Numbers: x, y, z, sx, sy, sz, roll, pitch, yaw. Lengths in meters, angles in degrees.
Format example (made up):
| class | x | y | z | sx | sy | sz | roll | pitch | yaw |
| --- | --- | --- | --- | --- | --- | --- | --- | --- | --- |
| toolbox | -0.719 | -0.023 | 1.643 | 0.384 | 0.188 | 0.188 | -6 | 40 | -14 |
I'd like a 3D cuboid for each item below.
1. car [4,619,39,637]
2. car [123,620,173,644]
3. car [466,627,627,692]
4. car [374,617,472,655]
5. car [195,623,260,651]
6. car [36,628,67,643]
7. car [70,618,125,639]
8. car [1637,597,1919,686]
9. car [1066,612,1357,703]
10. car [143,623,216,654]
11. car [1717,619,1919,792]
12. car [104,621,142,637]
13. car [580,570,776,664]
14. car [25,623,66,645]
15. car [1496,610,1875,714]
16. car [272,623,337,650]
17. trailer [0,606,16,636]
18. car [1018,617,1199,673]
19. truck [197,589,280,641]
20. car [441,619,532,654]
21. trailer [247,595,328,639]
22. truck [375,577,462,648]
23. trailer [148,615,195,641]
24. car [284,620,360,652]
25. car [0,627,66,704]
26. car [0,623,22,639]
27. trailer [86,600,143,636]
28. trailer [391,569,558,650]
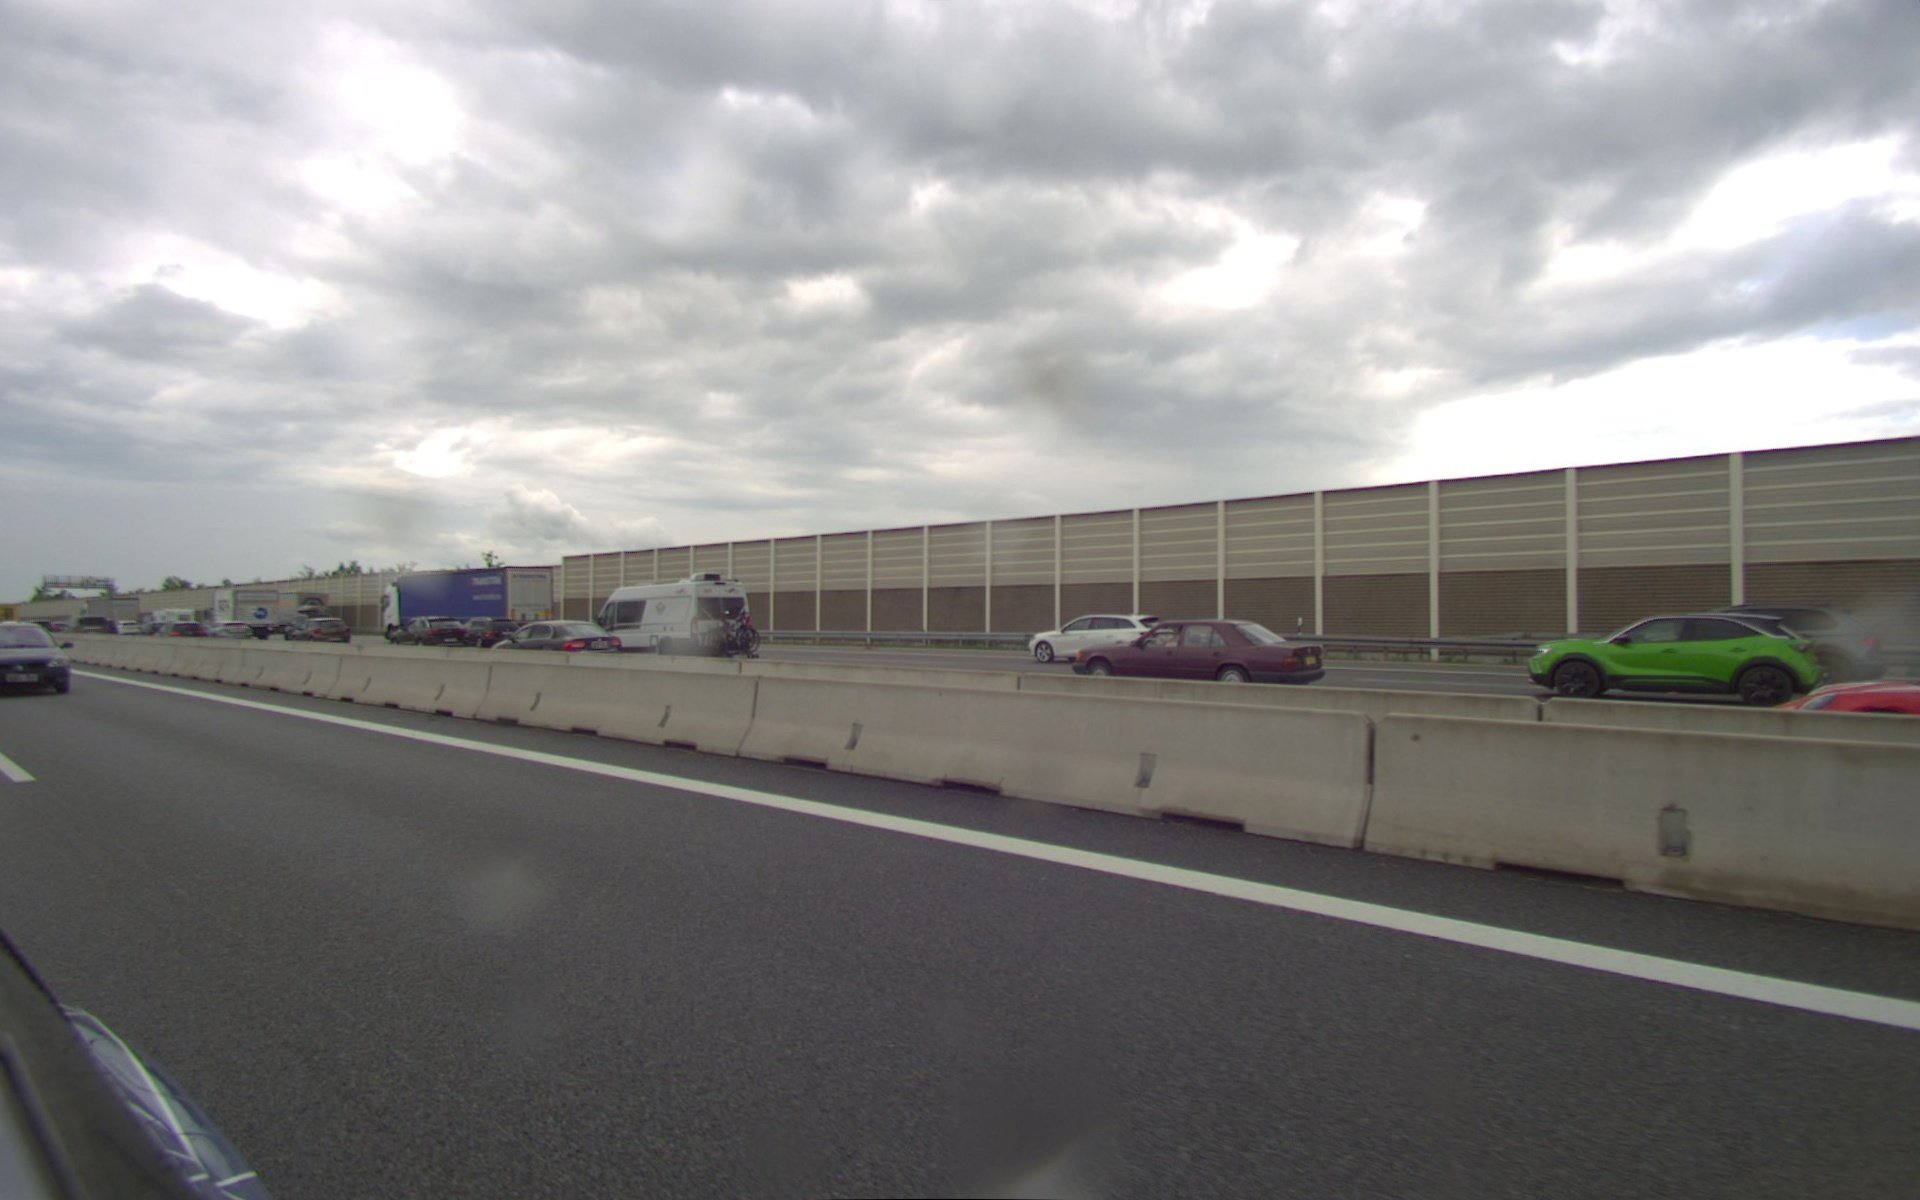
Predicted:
| class | x | y | z | sx | sy | sz | roll | pitch | yaw |
| --- | --- | --- | --- | --- | --- | --- | --- | --- | --- |
| car | -101.168 | 3.030 | 109.078 | 5.107 | 1.830 | 2.041 | -2 | -2 | 38 |
| car | -59.038 | 2.346 | 73.560 | 5.010 | 1.712 | 1.854 | -2 | -2 | 39 |
| car | -11.075 | 1.503 | 26.932 | 4.996 | 1.502 | 2.038 | -1 | -1 | 42 |
| car | -22.318 | 1.449 | 41.947 | 4.996 | 1.502 | 2.038 | -1 | -1 | 42 |
| car | -44.520 | 2.197 | 61.480 | 4.994 | 1.612 | 2.039 | -1 | -1 | 40 |
| car | -102.600 | 4.006 | 114.295 | 4.405 | 1.712 | 1.936 | -2 | -2 | 38 |
| car | -57.202 | 1.891 | 67.098 | 5.594 | 1.309 | 1.854 | -2 | -2 | 39 |
| car | 15.844 | 0.735 | 18.985 | 4.996 | 1.502 | 2.038 | -1 | -1 | 42 |
| car | 4.635 | 0.985 | 19.179 | 4.996 | 1.502 | 2.038 | -1 | -1 | 42 |
| car | -41.284 | 1.991 | 53.513 | 4.993 | 1.502 | 2.039 | -1 | -1 | 40 |
| car | 9.864 | 0.923 | 8.885 | 4.996 | 1.502 | 2.038 | -1 | -1 | 42 |
| car | -80.842 | 2.771 | 97.689 | 4.995 | 1.502 | 2.039 | -1 | -1 | 41 |
| car | -8.725 | 0.519 | 30.745 | 7.085 | 2.569 | 2.358 | -1 | -1 | 42 |
| car | -73.711 | 2.727 | 81.551 | 4.217 | 1.712 | 1.854 | -2 | -2 | 39 |
| car | 12.066 | 0.931 | 17.096 | 4.996 | 1.502 | 2.038 | -1 | -1 | 42 |
| car | -40.521 | 2.230 | 62.503 | 4.994 | 1.612 | 2.039 | -1 | -1 | 40 |
| trailer | -136.925 | 3.049 | 143.333 | 14.437 | 4.062 | 2.734 | -1 | -1 | 39 |
| car | 4.280 | 1.257 | 29.714 | 4.996 | 1.502 | 2.038 | -1 | -1 | 42 |
| truck | -52.540 | 1.123 | 73.571 | 9.991 | 3.554 | 2.668 | -2 | 0 | 41 |
| car | -22.017 | 1.645 | 46.974 | 4.996 | 1.502 | 2.038 | -1 | -1 | 42 |
| trailer | -65.745 | 1.729 | 98.783 | 13.850 | 4.062 | 2.905 | -2 | -1 | 40 |
| truck | -32.563 | 0.765 | 60.770 | 5.722 | 4.065 | 2.717 | -2 | -1 | 40 |
| trailer | -77.681 | 2.785 | 99.667 | 6.081 | 2.514 | 2.434 | -2 | -2 | 40 |
| car | -32.697 | 1.803 | 51.821 | 4.996 | 1.502 | 2.038 | -1 | -1 | 42 |
| car | -19.257 | 1.258 | 20.197 | 3.997 | 1.413 | 1.558 | -2 | -1 | 40 |
| car | -110.928 | 3.617 | 117.633 | 4.772 | 1.830 | 2.041 | -2 | -2 | 38 |
| trailer | -99.078 | 2.177 | 118.442 | 14.442 | 4.062 | 2.733 | -2 | -1 | 41 |
| trailer | -27.343 | 0.624 | 56.361 | 14.441 | 4.062 | 2.733 | -2 | -1 | 40 |
